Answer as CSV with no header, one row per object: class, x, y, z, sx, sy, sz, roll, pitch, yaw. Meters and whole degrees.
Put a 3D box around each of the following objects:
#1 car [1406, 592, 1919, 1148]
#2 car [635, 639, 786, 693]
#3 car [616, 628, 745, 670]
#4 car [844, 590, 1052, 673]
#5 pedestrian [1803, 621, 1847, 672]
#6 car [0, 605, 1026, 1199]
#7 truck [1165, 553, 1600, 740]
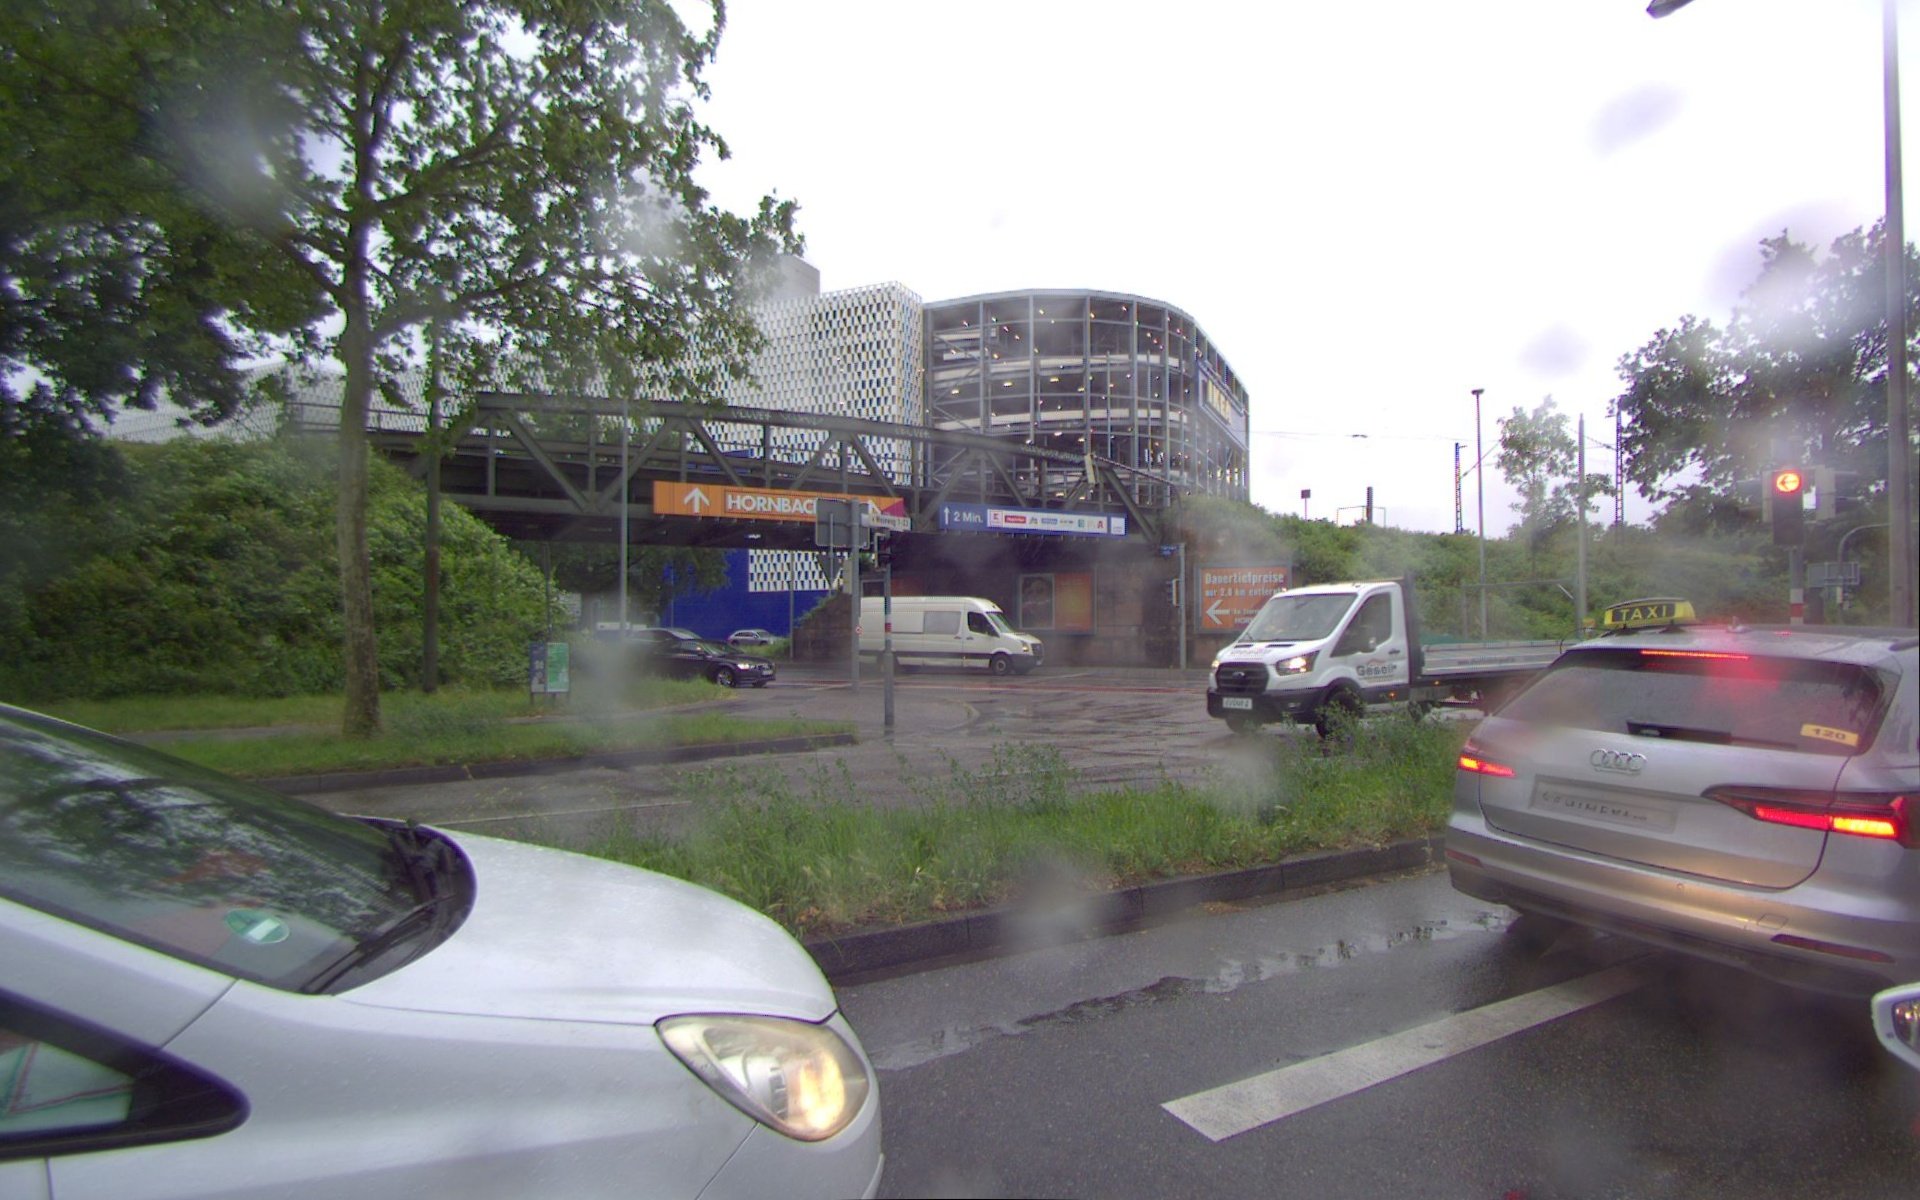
car,4.415,0.809,4.818,4.766,1.595,1.760,1,0,-31
car,-7.270,1.883,29.227,4.067,1.453,1.693,-1,-1,23
car,-11.152,1.931,40.065,4.858,1.621,1.882,-1,-2,24
car,-0.459,1.100,34.756,6.847,2.645,2.386,-1,-2,25
pedestrian,32.377,1.740,37.599,1.122,1.871,1.092,2,-2,-41
car,-2.010,0.713,1.314,3.966,1.395,1.669,1,0,-32
truck,6.642,0.685,15.569,6.779,2.396,2.466,1,-2,-27
